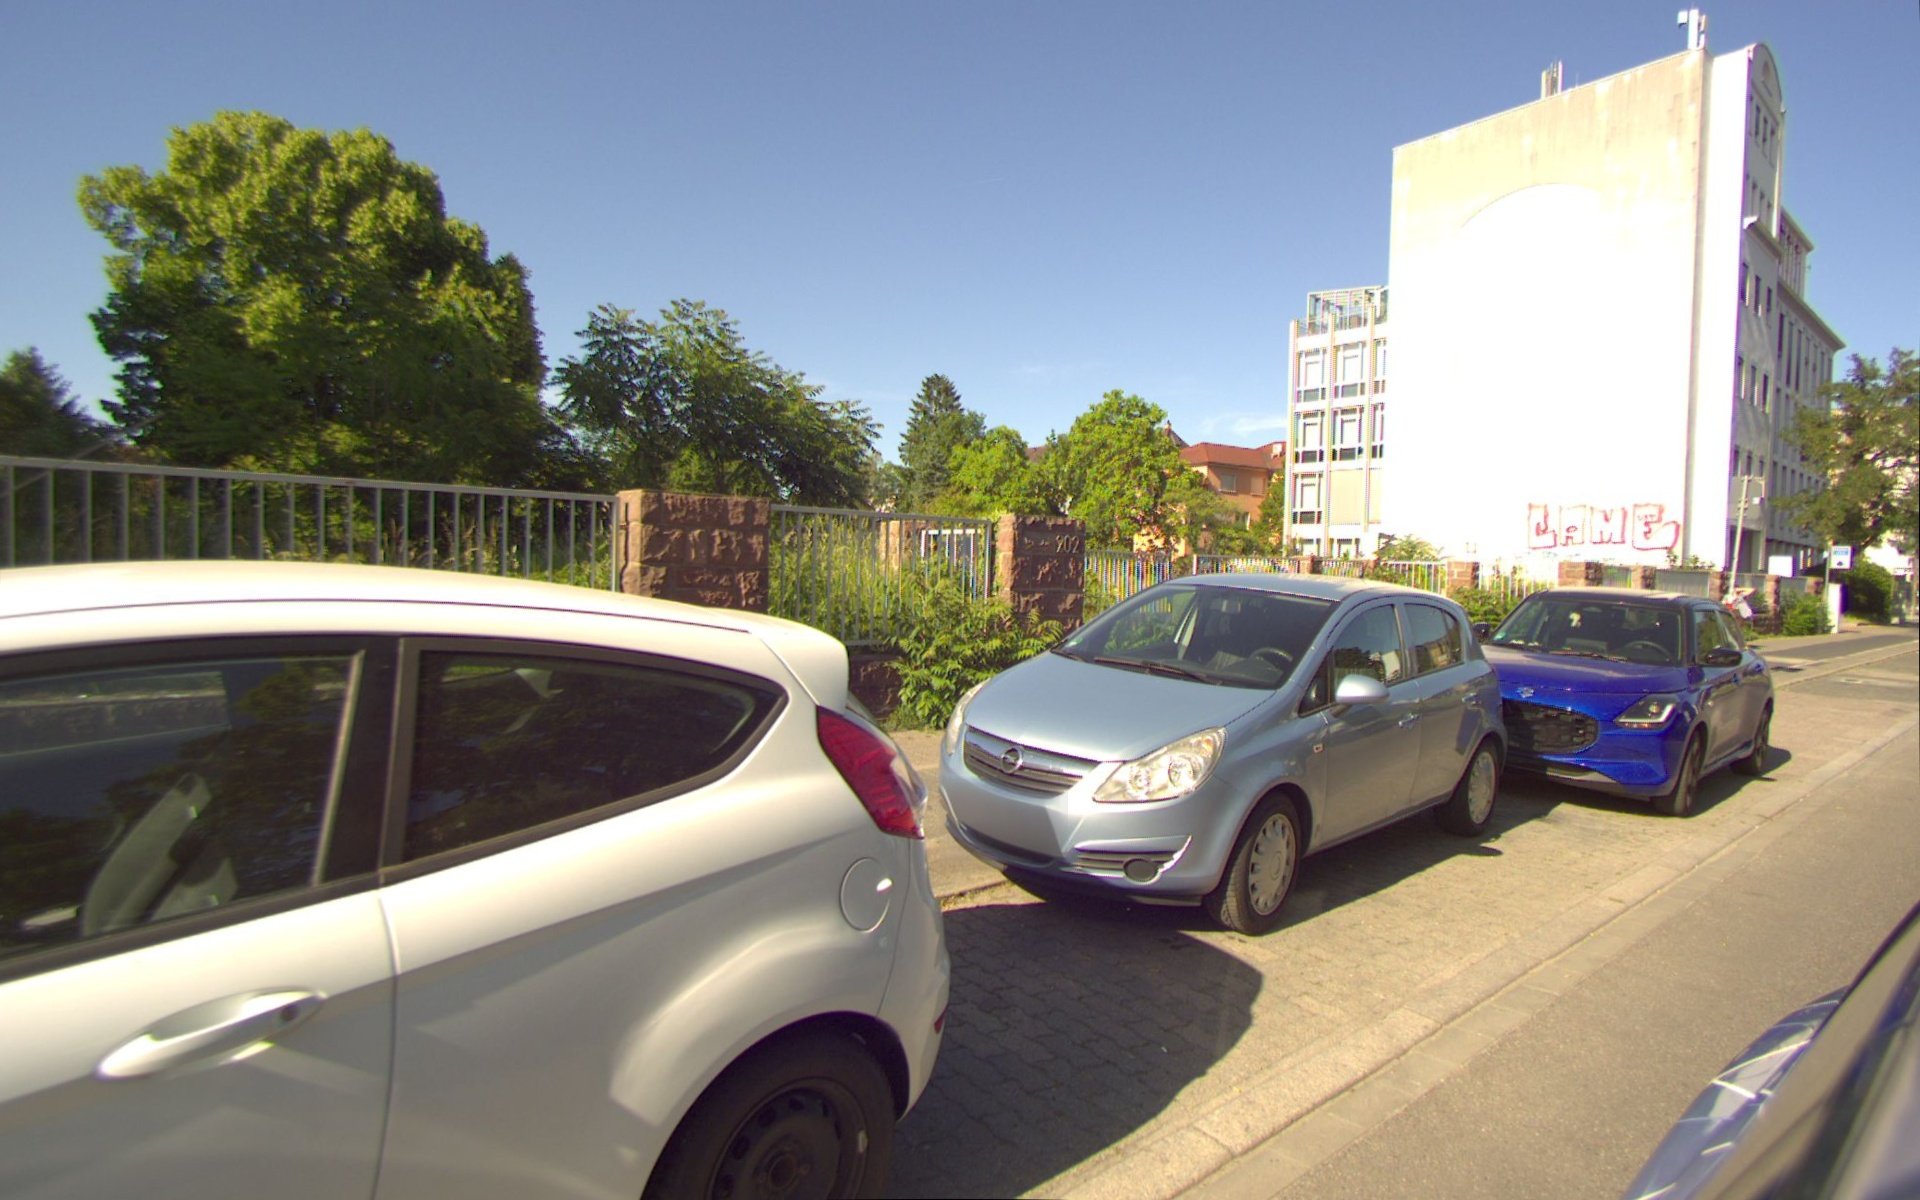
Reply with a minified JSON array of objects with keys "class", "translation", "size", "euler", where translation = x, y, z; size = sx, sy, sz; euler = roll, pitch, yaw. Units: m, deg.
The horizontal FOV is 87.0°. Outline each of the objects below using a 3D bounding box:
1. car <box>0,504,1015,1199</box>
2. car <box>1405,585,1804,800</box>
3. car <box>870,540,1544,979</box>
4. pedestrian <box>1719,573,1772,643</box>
[{"class":"car","translation":[-1.784,0.585,1.748],"size":[3.595,1.463,1.612],"euler":[0,5,-41]},{"class":"car","translation":[5.308,0.557,8.141],"size":[3.834,1.196,1.672],"euler":[0,5,-42]},{"class":"car","translation":[1.589,0.522,5.536],"size":[3.920,1.477,1.671],"euler":[0,6,-44]},{"class":"pedestrian","translation":[18.745,0.171,24.151],"size":[0.881,1.602,0.745],"euler":[0,3,-40]}]
